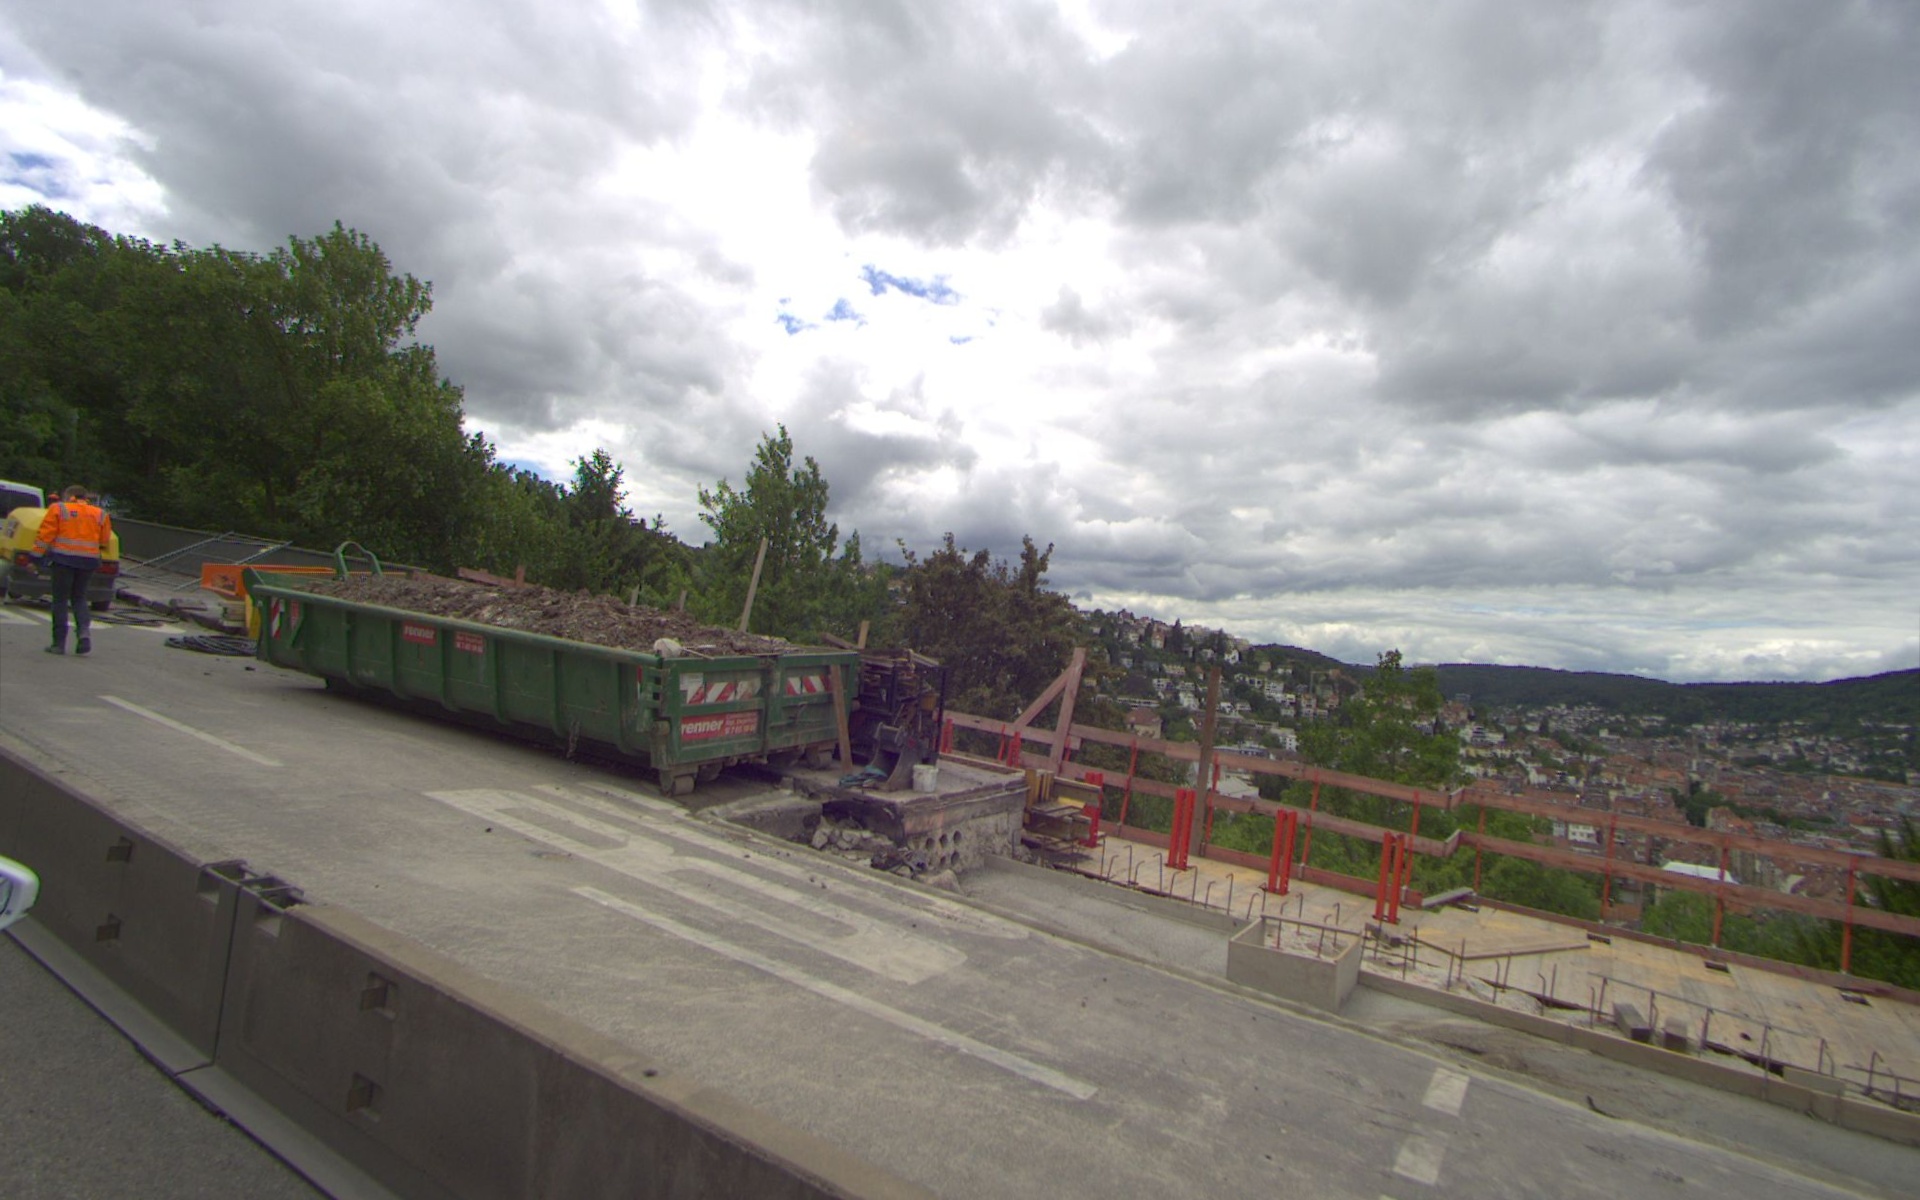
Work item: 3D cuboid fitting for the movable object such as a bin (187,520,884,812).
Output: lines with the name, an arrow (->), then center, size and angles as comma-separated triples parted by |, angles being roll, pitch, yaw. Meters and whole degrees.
movable object such as a bin -> -4.349, 0.426, 9.707 | 6.979, 1.579, 2.379 | 7, -2, 30

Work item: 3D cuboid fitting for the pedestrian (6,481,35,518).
pedestrian -> -50.254, -5.371, 53.802 | 0.871, 1.845, 0.870 | 7, 1, -36

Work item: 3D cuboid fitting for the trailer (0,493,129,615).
trailer -> -13.834, -0.765, 15.093 | 3.580, 1.492, 1.288 | 7, -1, 39

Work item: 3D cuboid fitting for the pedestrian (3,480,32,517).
pedestrian -> -49.673, -5.338, 53.002 | 0.871, 1.752, 0.870 | 7, 1, -36

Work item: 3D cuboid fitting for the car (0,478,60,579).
car -> -19.841, -1.606, 20.109 | 4.202, 1.801, 1.833 | 7, -1, 36

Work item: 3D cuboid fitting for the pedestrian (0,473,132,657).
pedestrian -> -9.115, -0.351, 10.244 | 0.836, 1.721, 0.646 | 8, -1, 32

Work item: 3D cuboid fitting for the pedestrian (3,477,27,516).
pedestrian -> -48.989, -5.369, 52.141 | 0.814, 1.930, 0.689 | 8, 1, 42

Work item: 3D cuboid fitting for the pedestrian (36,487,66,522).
pedestrian -> -47.458, -4.978, 52.519 | 0.774, 1.708, 0.781 | 7, 1, -20
